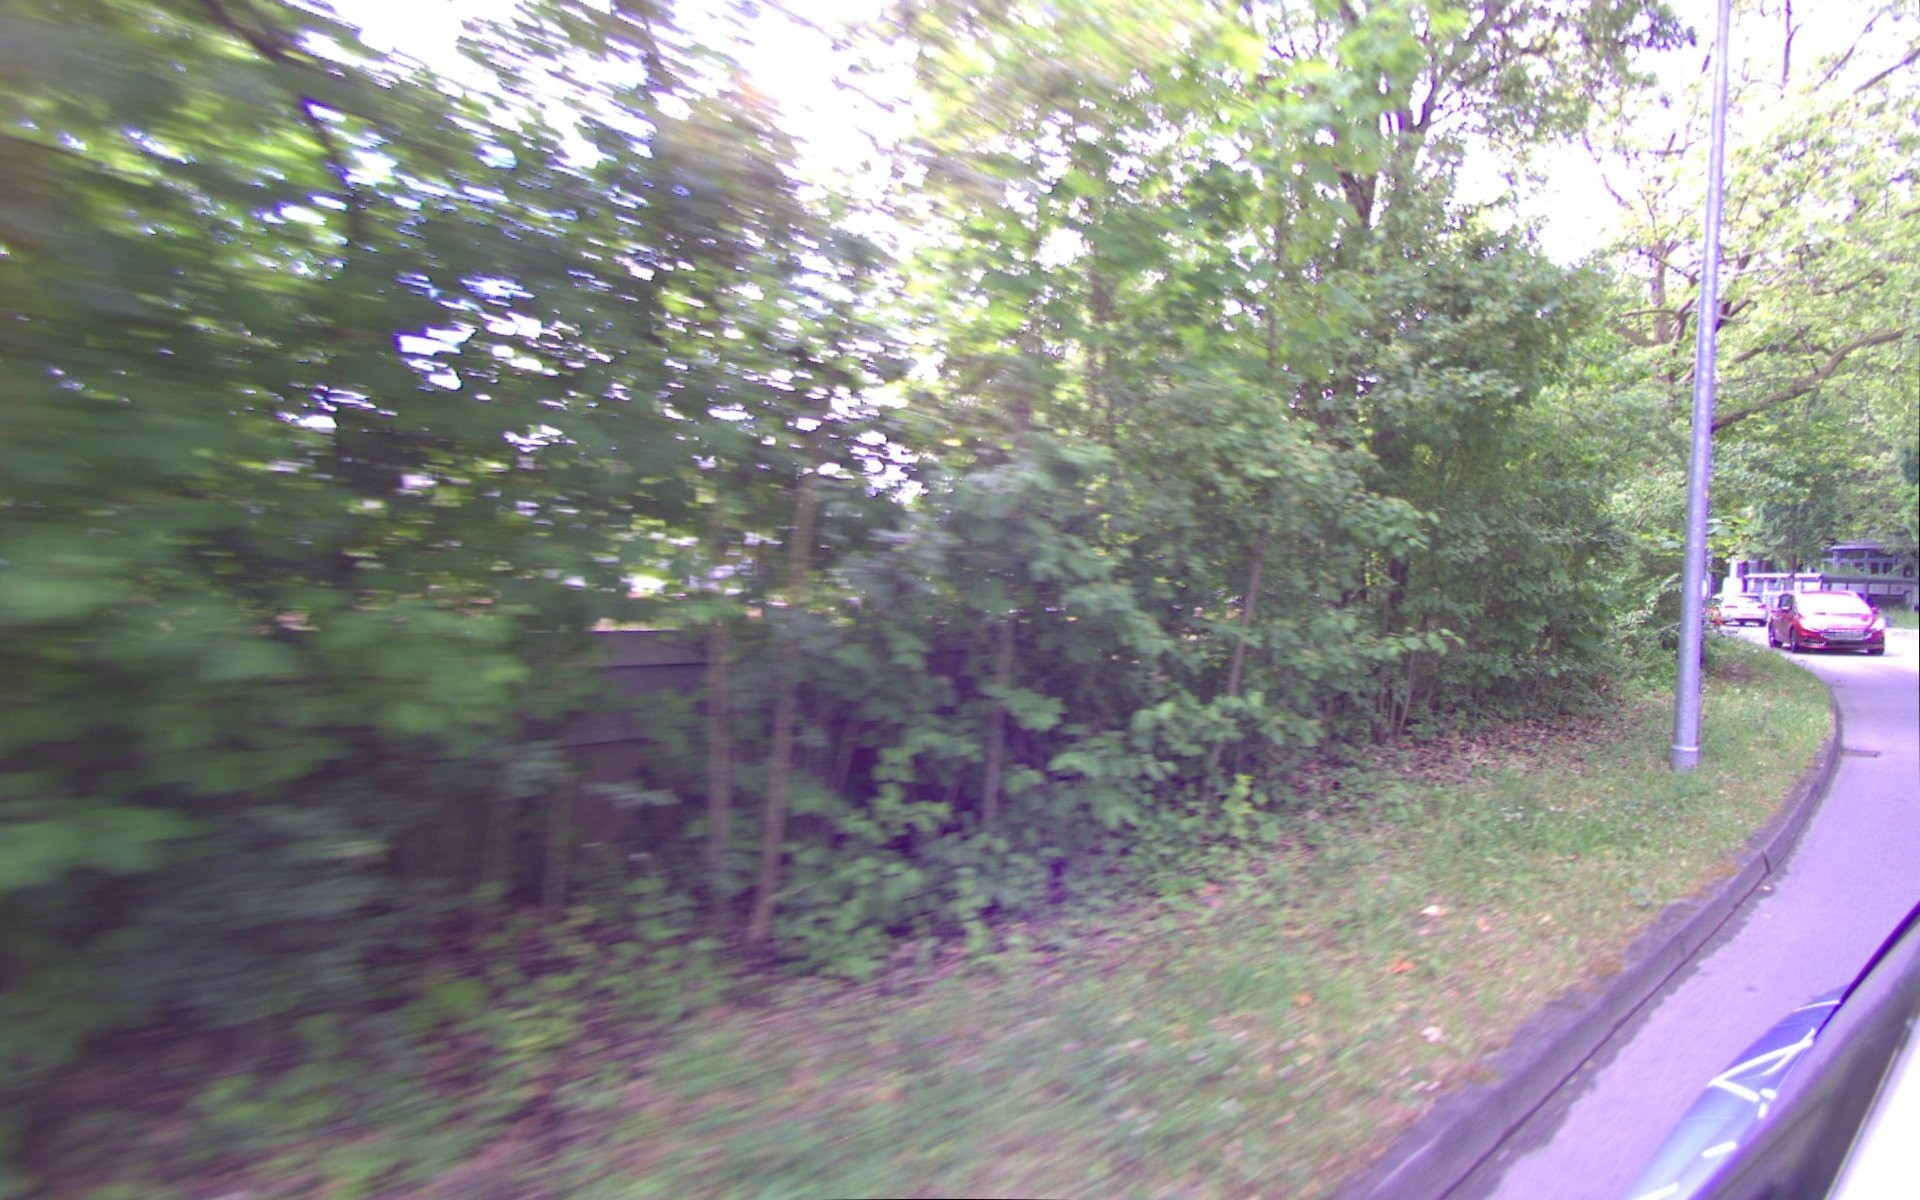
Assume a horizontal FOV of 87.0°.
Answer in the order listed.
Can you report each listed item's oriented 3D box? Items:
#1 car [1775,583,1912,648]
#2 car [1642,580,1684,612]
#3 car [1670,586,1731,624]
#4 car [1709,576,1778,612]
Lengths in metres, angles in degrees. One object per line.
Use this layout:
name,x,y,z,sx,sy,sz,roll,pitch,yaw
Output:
car,23.772,0.341,27.407,1.930,1.578,4.311,0,1,30
car,43.623,-0.289,62.826,1.985,1.899,3.953,0,1,33
car,31.753,0.188,43.475,1.935,1.551,4.037,0,1,34
car,35.628,-0.290,46.111,1.837,1.510,4.046,1,1,28
